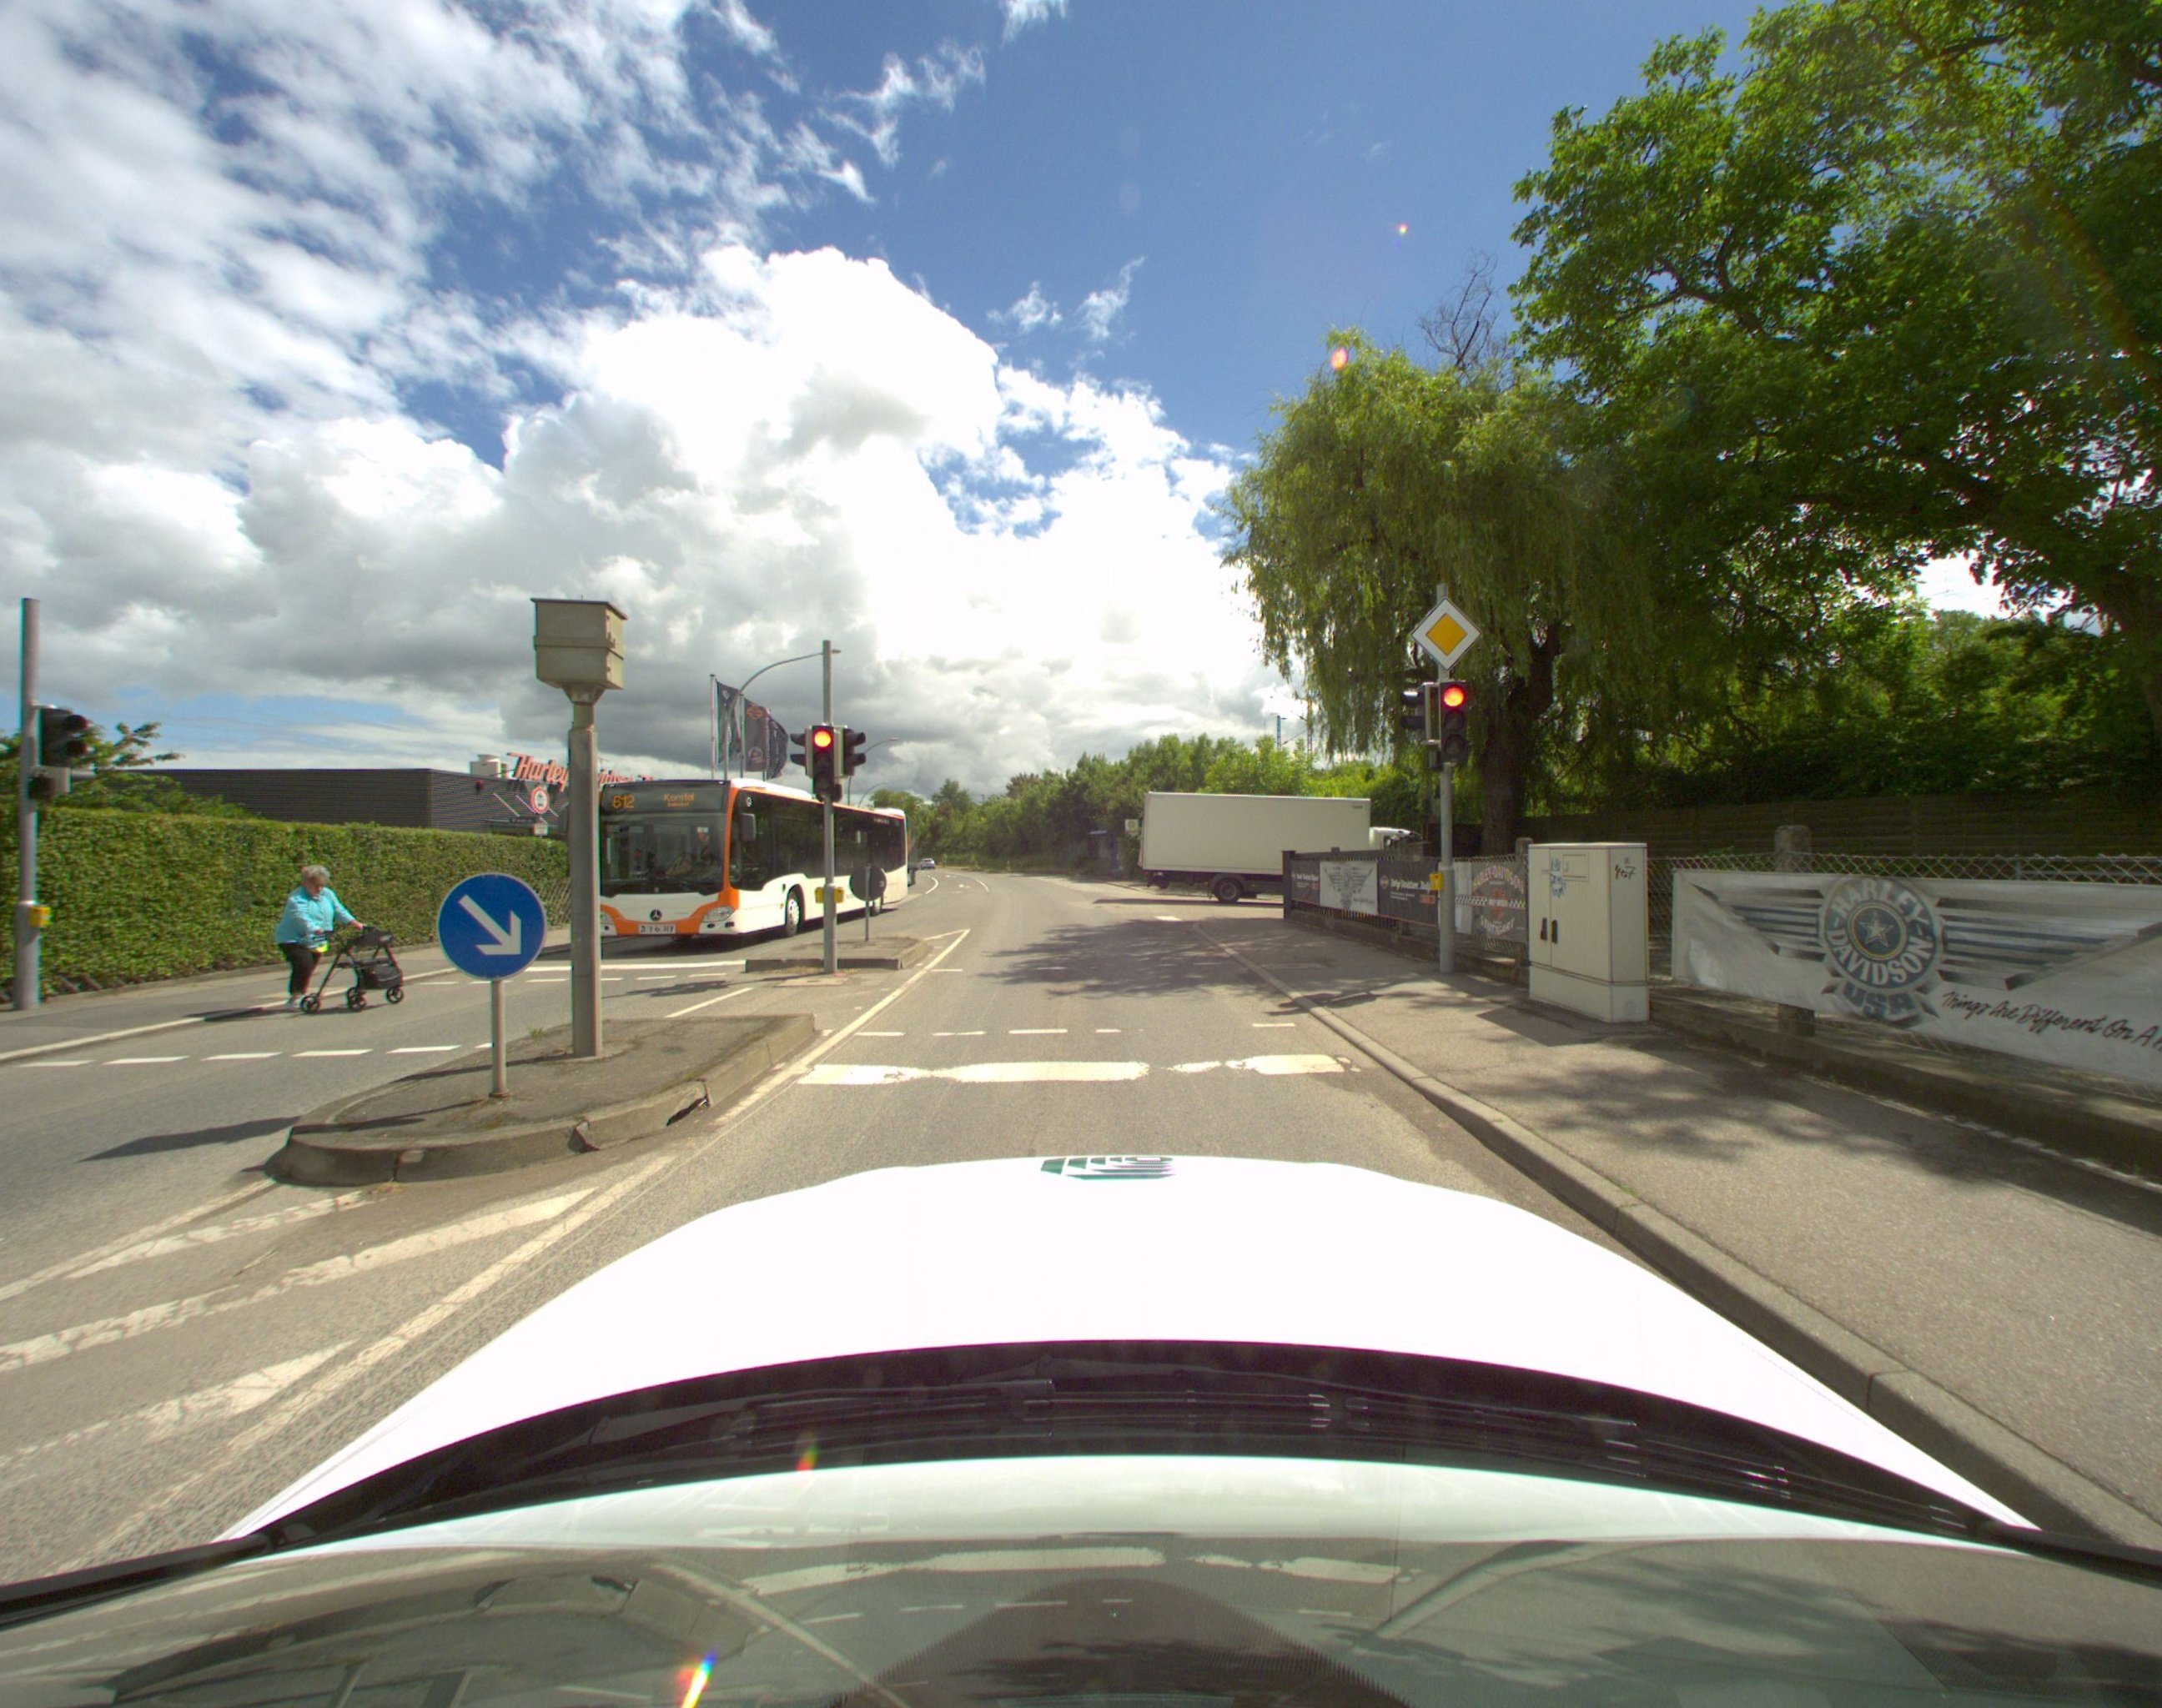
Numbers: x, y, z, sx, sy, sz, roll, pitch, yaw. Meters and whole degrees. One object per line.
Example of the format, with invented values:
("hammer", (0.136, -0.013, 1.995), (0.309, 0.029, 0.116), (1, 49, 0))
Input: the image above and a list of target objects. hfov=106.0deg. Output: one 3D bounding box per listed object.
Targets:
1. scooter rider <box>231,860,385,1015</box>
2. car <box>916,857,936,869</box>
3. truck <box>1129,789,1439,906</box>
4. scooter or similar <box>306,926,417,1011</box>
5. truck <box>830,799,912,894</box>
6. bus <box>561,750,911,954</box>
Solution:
("scooter rider", (-8.330, 0.866, 8.814), (0.875, 1.589, 0.796), (-1, 0, 0))
("car", (-20.614, 1.197, 108.337), (1.893, 1.508, 3.969), (0, 0, -23))
("truck", (6.596, -0.266, 27.524), (9.639, 3.540, 2.855), (1, 0, 7))
("scooter or similar", (-7.788, 1.228, 8.844), (0.609, 0.831, 0.659), (0, 0, 0))
("truck", (-10.224, -0.305, 40.604), (2.425, 4.131, 9.132), (1, -1, -6))
("bus", (-6.929, 0.001, 19.393), (2.767, 3.266, 12.127), (-2, 0, 2))
